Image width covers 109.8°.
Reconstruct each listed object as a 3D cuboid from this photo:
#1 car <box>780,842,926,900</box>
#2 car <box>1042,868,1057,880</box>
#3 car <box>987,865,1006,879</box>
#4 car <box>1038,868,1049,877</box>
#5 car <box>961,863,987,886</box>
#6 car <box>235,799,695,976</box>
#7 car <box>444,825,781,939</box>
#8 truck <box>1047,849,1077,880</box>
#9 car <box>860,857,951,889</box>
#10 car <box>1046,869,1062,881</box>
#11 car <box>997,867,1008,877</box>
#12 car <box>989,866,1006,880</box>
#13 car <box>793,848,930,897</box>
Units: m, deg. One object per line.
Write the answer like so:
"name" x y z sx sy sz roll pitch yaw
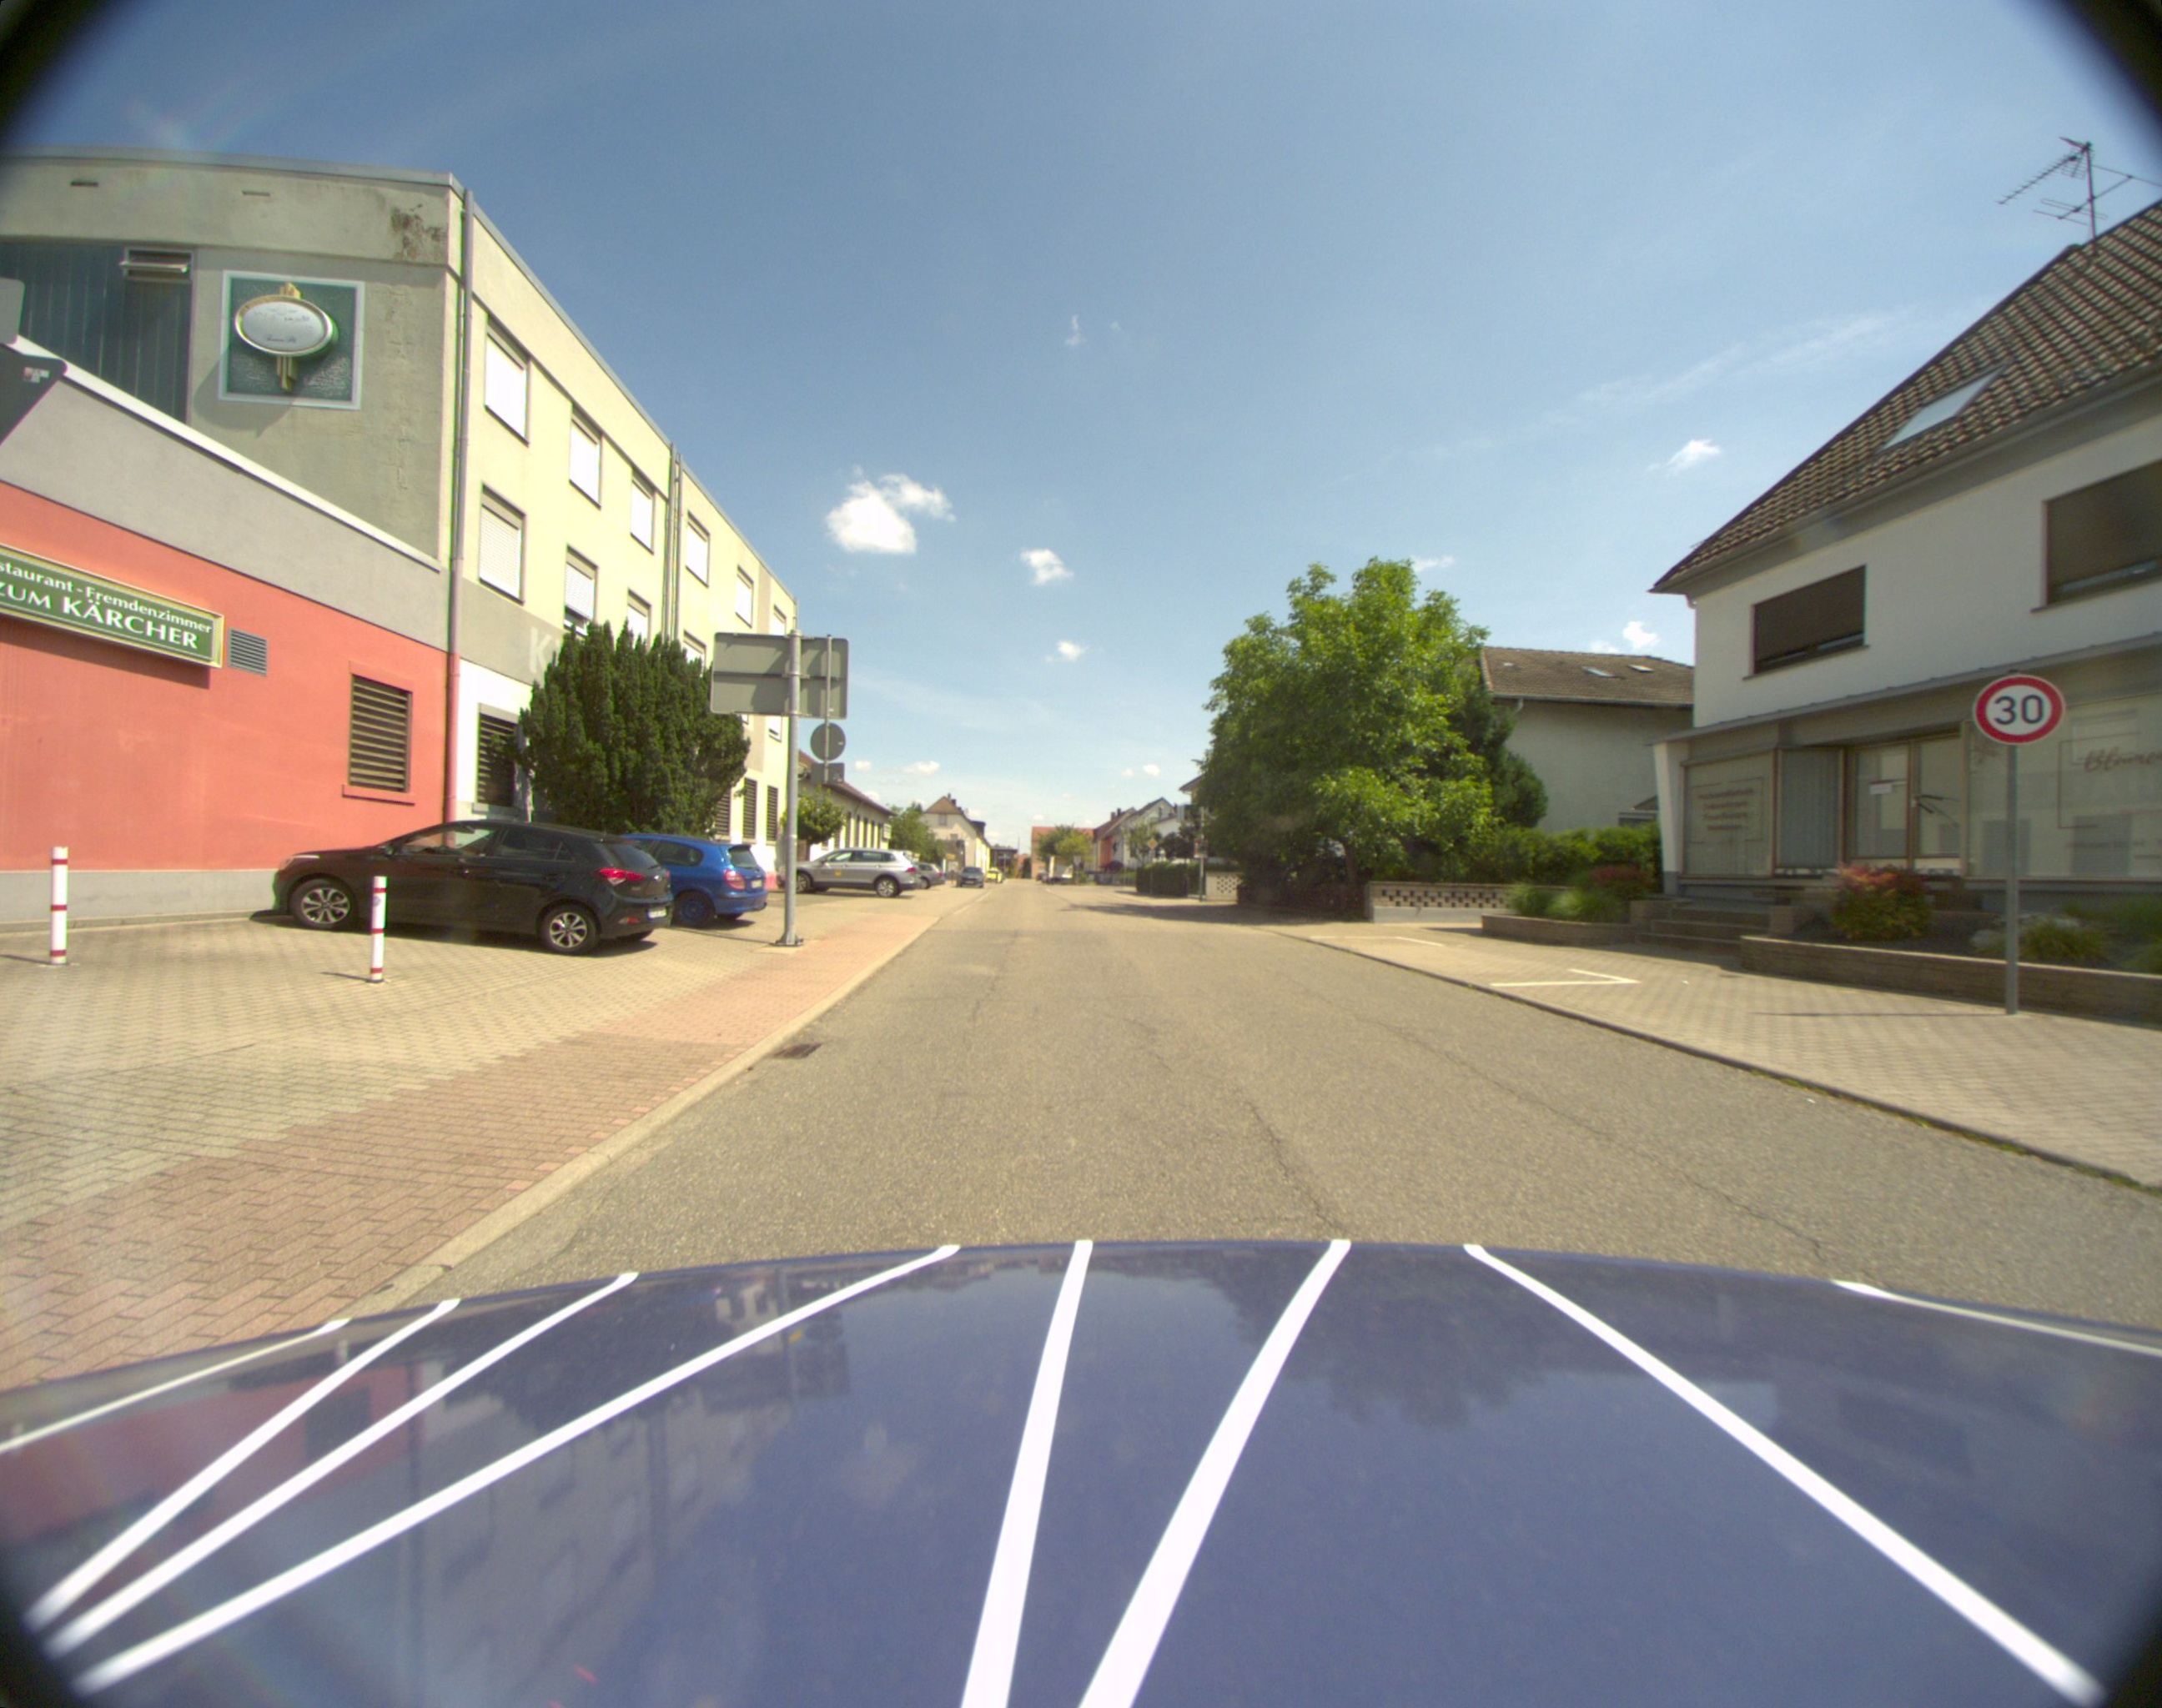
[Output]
"car" -7.695 0.590 26.039 4.467 1.687 1.922 3 -1 -7
"car" -4.489 2.868 108.215 1.721 1.491 4.214 4 -2 -6
"car" -9.137 1.935 82.260 1.721 1.389 4.214 5 -2 -5
"car" -6.838 3.299 138.275 1.721 1.491 4.214 4 -2 -6
"car" -7.350 1.403 52.555 1.633 1.480 4.138 2 -1 -6
"car" -7.243 0.388 9.356 3.908 1.481 1.809 8 0 -7
"car" -7.538 0.422 12.608 4.336 1.431 1.778 5 1 -6
"truck" -2.262 1.238 87.618 2.445 3.226 7.033 5 -2 -7
"car" -9.496 1.034 41.481 4.540 1.445 1.917 3 -1 -5
"car" -3.661 2.753 101.604 1.721 1.491 4.214 4 -2 -6
"car" -13.606 3.146 131.765 1.721 1.491 4.214 5 -2 -5
"car" -9.497 2.159 86.963 1.721 1.491 4.214 5 -2 -5
"car" -8.058 0.687 28.288 4.514 1.510 1.999 3 -1 -6
